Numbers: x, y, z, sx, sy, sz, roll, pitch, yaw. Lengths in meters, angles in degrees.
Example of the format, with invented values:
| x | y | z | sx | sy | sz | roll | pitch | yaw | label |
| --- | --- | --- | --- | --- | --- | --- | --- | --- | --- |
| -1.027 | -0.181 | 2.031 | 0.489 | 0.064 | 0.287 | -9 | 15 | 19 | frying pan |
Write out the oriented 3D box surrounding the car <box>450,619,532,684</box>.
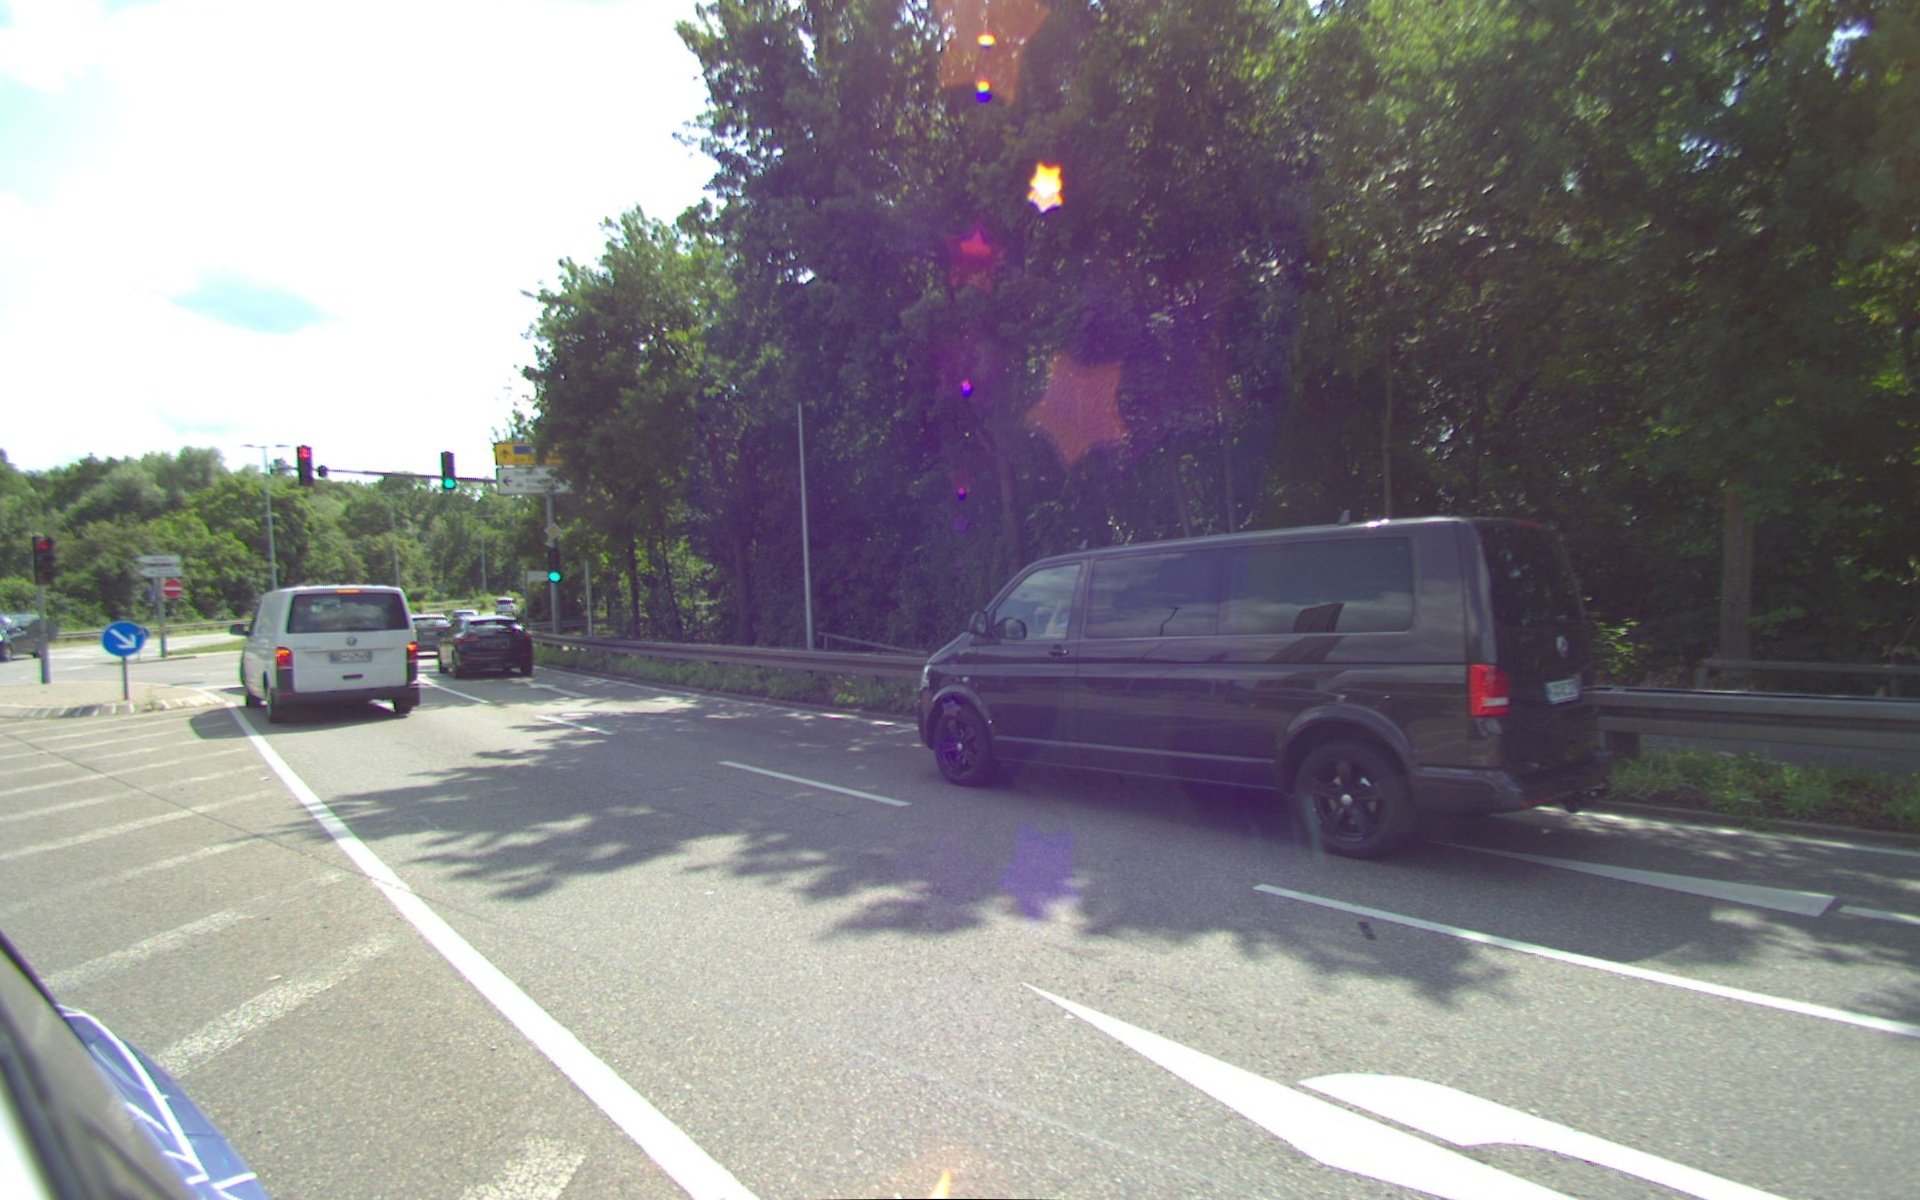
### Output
| x | y | z | sx | sy | sz | roll | pitch | yaw | label |
| --- | --- | --- | --- | --- | --- | --- | --- | --- | --- |
| -11.661 | 1.199 | 25.029 | 1.612 | 1.420 | 4.352 | 0 | -1 | -28 | car |

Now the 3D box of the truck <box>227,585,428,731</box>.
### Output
| x | y | z | sx | sy | sz | roll | pitch | yaw | label |
| --- | --- | --- | --- | --- | --- | --- | --- | --- | --- |
| -10.244 | 0.820 | 16.171 | 1.936 | 1.927 | 5.378 | -2 | 0 | -40 | truck |

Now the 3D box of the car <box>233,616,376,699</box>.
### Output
| x | y | z | sx | sy | sz | roll | pitch | yaw | label |
| --- | --- | --- | --- | --- | --- | --- | --- | --- | --- |
| -14.123 | 1.170 | 21.729 | 3.822 | 1.569 | 1.679 | -2 | 0 | 43 | car |

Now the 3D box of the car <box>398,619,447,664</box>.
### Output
| x | y | z | sx | sy | sz | roll | pitch | yaw | label |
| --- | --- | --- | --- | --- | --- | --- | --- | --- | --- |
| -19.432 | 1.471 | 36.606 | 1.501 | 1.495 | 3.834 | -1 | -1 | -28 | car |

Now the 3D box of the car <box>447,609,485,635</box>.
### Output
| x | y | z | sx | sy | sz | roll | pitch | yaw | label |
| --- | --- | --- | --- | --- | --- | --- | --- | --- | --- |
| -29.534 | 1.321 | 60.594 | 1.658 | 1.489 | 4.728 | 0 | -1 | -22 | car |

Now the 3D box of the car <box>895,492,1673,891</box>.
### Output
| x | y | z | sx | sy | sz | roll | pitch | yaw | label |
| --- | --- | --- | --- | --- | --- | --- | --- | --- | --- |
| 1.916 | 0.492 | 7.463 | 1.970 | 1.928 | 5.138 | 0 | -1 | -43 | car |

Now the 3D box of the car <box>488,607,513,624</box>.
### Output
| x | y | z | sx | sy | sz | roll | pitch | yaw | label |
| --- | --- | --- | --- | --- | --- | --- | --- | --- | --- |
| -44.159 | 1.469 | 97.302 | 1.708 | 1.532 | 4.081 | 0 | 0 | -18 | car |
